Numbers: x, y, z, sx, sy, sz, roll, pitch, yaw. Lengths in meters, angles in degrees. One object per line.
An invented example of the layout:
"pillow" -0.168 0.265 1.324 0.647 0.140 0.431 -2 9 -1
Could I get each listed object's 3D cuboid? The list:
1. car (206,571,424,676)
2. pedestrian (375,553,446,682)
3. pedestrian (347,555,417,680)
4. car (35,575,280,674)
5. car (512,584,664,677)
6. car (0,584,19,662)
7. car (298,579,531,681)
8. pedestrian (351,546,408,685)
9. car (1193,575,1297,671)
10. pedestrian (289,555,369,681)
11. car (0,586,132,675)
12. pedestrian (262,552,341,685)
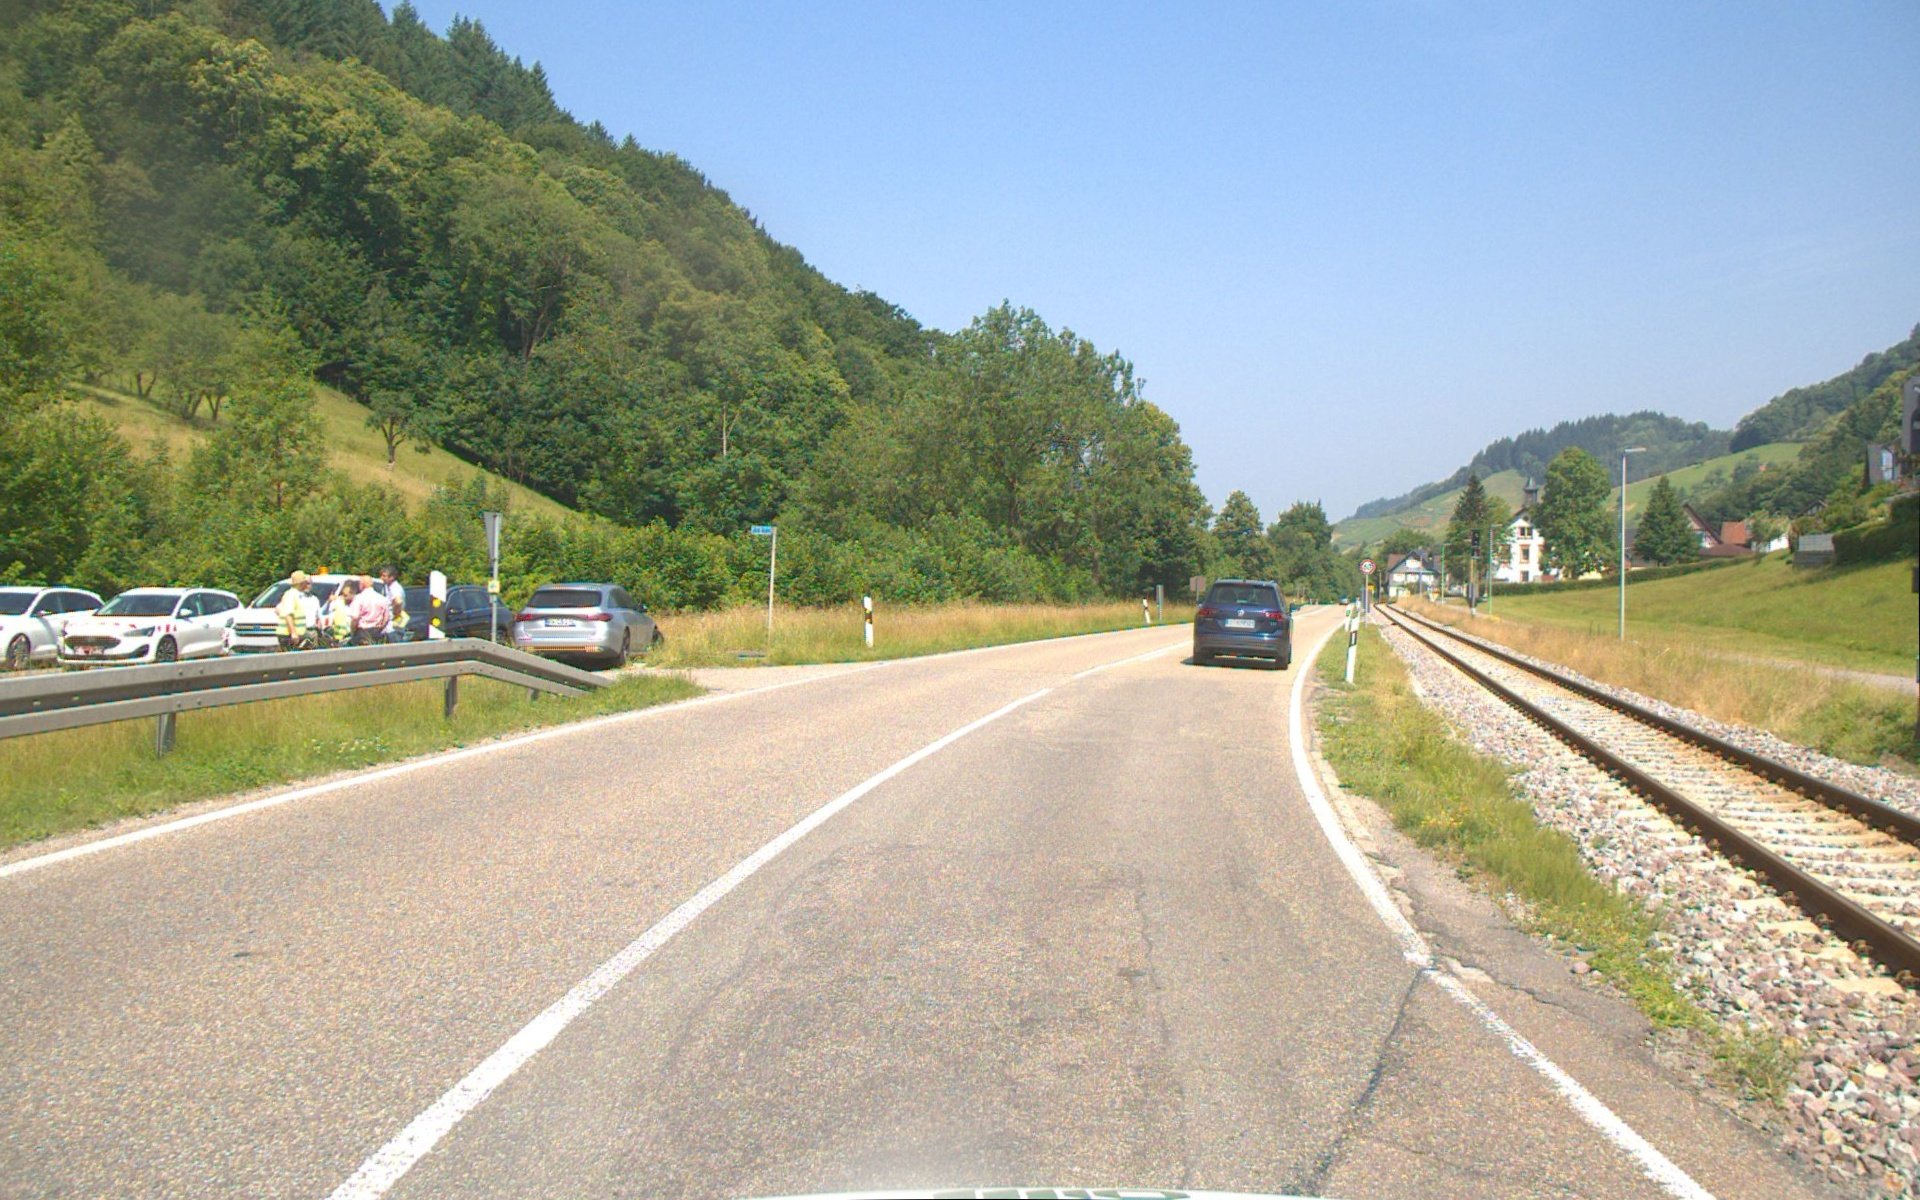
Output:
"car" -12.021 0.394 31.208 1.831 1.813 4.775 1 0 6
"pedestrian" -8.211 0.258 24.722 0.636 1.891 0.768 -1 0 36
"pedestrian" -8.784 0.256 25.145 0.636 1.872 0.768 -1 0 36
"car" -14.806 0.407 30.875 1.952 1.670 4.904 -1 0 3
"car" -6.591 0.490 29.742 1.789 1.527 4.277 -1 0 0
"car" -19.897 0.448 30.914 1.952 1.527 4.522 2 0 1
"car" -9.736 0.511 29.962 1.951 1.681 4.625 -1 0 12
"pedestrian" -8.470 0.219 24.153 0.648 1.989 0.532 -1 0 -7
"car" 5.557 0.412 32.245 1.813 1.678 4.143 2 1 10
"pedestrian" -9.370 0.265 24.574 0.754 1.827 0.792 -1 0 30
"car" -17.440 0.515 30.525 1.952 1.527 4.522 -1 0 1
"pedestrian" -9.441 0.266 23.714 0.771 1.874 0.699 -1 0 14
